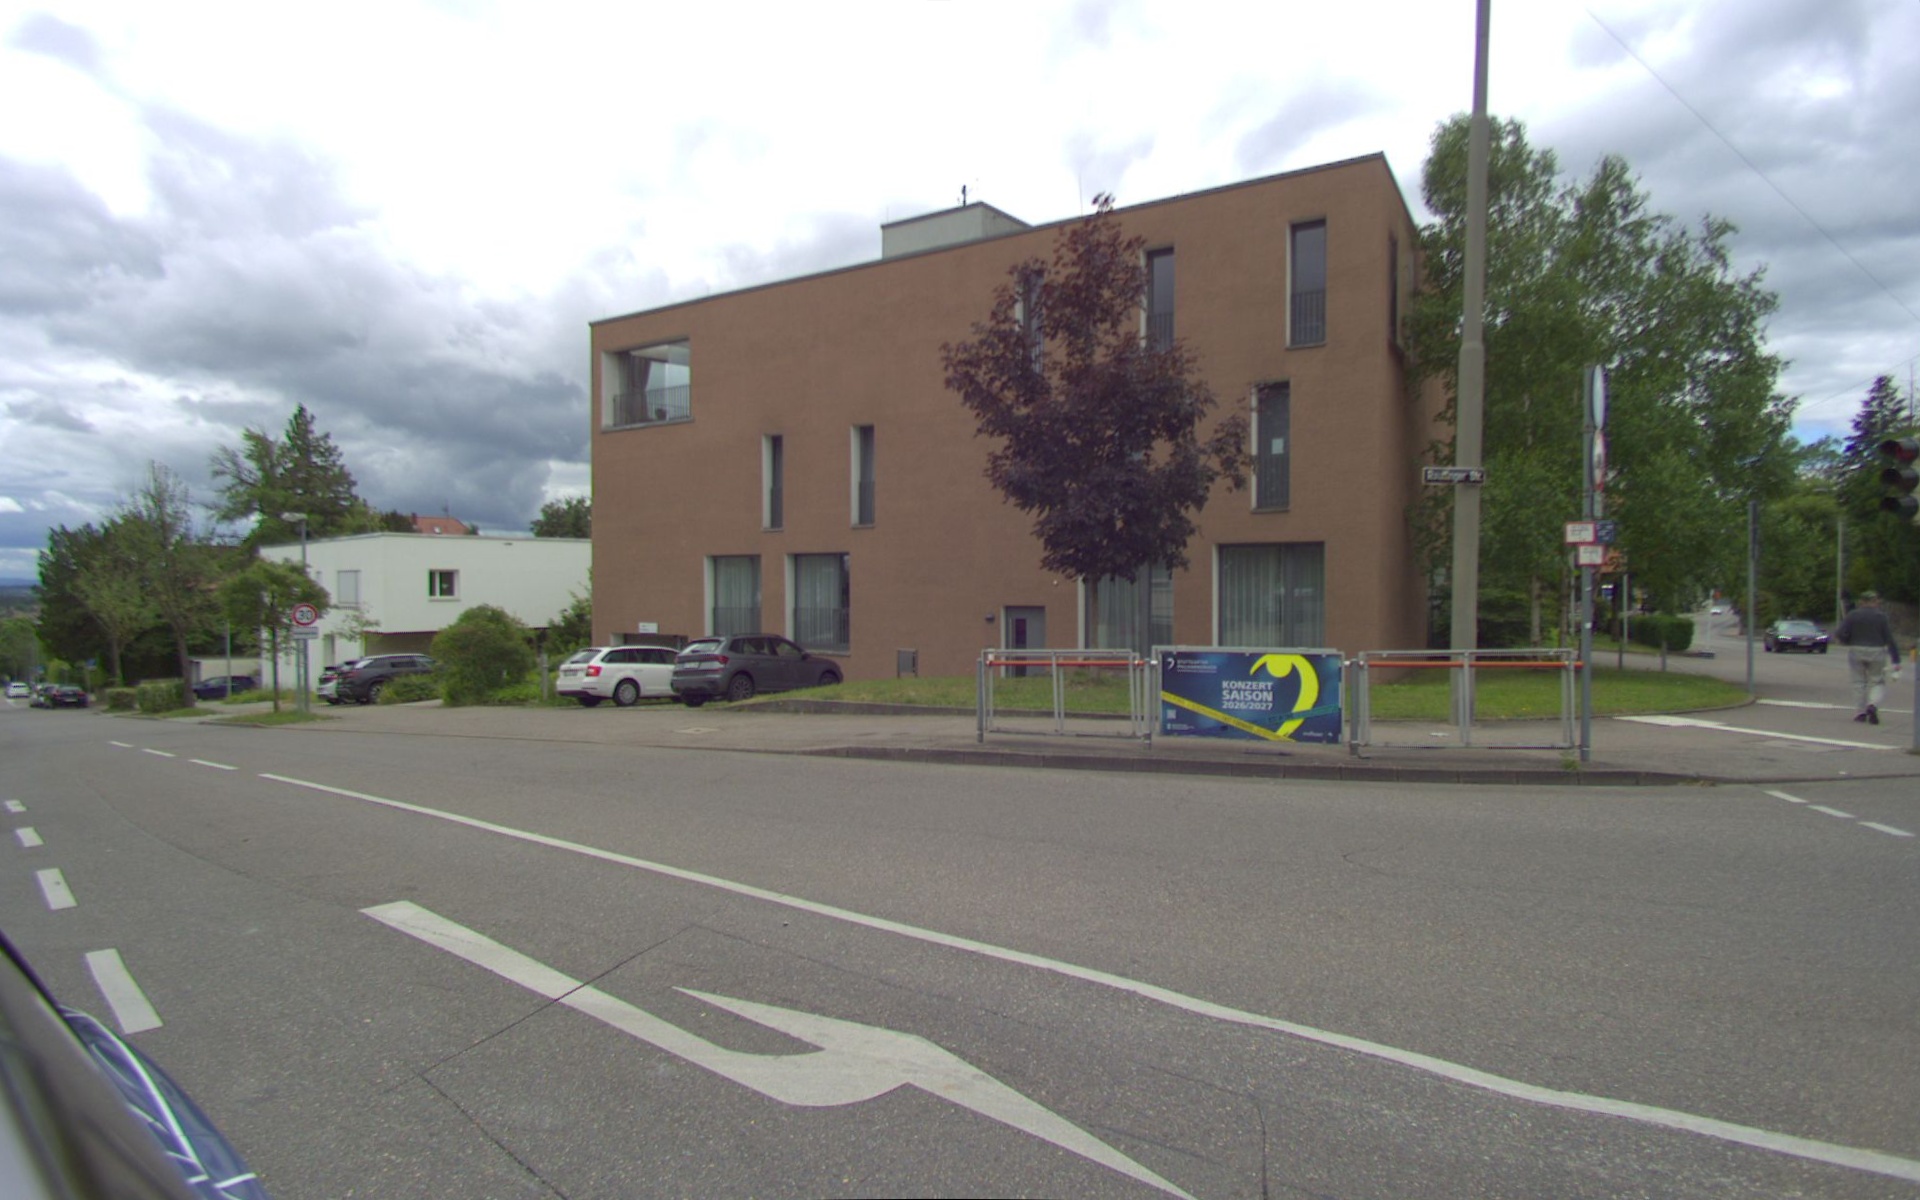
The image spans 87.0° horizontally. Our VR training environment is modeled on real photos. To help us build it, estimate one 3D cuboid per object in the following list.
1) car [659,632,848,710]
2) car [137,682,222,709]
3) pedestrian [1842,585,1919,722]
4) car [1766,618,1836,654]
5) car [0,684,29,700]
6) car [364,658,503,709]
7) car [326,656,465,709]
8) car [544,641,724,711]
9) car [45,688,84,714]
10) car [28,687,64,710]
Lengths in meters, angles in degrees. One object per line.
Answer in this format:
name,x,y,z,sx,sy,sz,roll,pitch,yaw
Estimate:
car,-4.499,1.530,22.517,1.724,1.497,3.950,-5,-4,37
car,-46.973,5.743,60.932,3.939,1.296,1.665,0,-4,-43
pedestrian,11.549,0.659,12.664,0.684,1.646,0.729,-3,-3,44
car,37.978,1.607,45.793,1.825,1.547,3.957,-1,-2,31
car,-95.907,9.306,102.351,4.362,1.432,1.861,-3,-3,38
car,-18.233,2.882,35.147,1.727,1.497,3.943,-6,-4,43
car,-19.976,2.902,35.932,1.793,1.608,3.943,-6,-4,43
car,-7.999,1.846,25.120,1.724,1.497,3.950,-5,-4,37
car,-54.935,6.176,62.066,1.638,1.432,4.003,0,-4,-44
car,-61.558,6.634,68.145,1.638,1.432,4.371,0,-4,-44
